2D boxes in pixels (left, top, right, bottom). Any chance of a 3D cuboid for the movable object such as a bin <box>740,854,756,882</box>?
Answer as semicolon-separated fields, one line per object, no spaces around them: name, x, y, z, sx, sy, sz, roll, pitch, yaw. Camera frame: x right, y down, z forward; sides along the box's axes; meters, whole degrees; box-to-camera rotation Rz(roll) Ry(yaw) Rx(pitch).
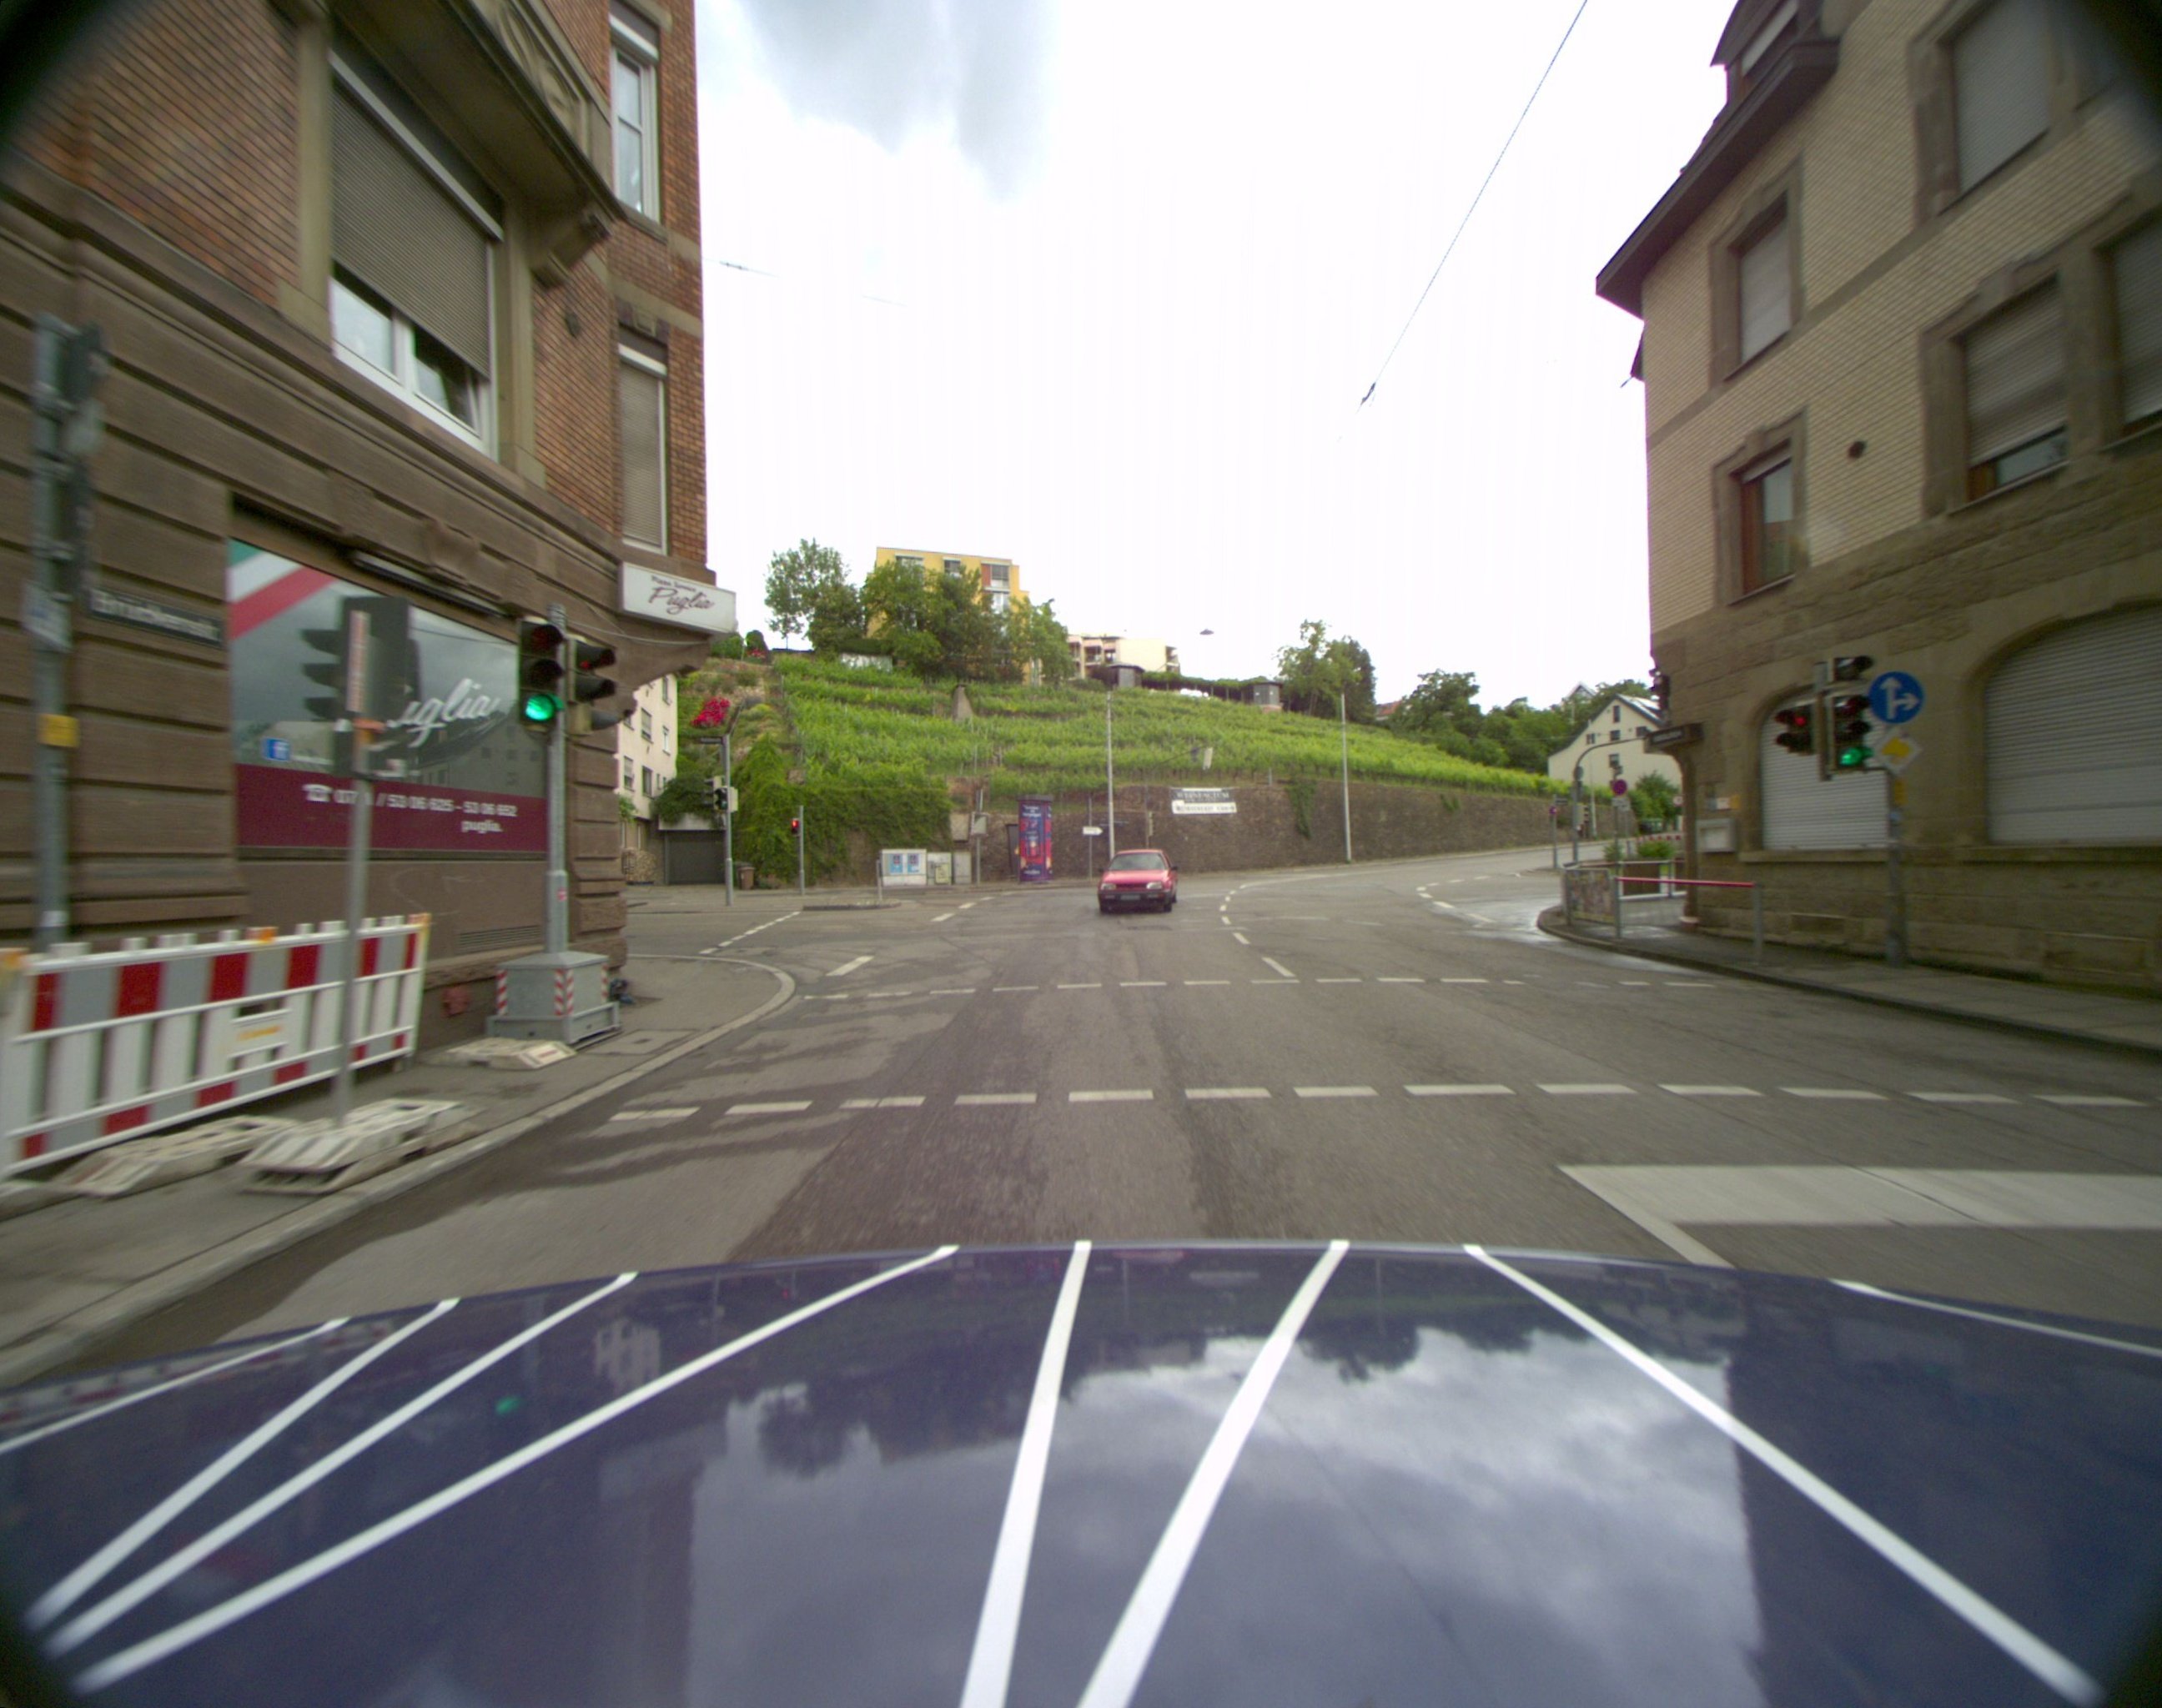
movable object such as a bin;-13.415;0.566;30.599;0.473;1.076;0.407;-3;2;-33

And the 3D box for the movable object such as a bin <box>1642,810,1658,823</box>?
movable object such as a bin;49.647;-3.270;66.314;0.876;1.120;0.809;-4;2;-30

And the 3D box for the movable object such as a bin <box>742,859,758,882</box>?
movable object such as a bin;-13.160;0.650;30.202;0.496;0.906;0.344;-4;2;-33

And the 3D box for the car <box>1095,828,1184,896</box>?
car;1.542;0.137;18.600;1.645;1.430;4.003;-2;1;11
